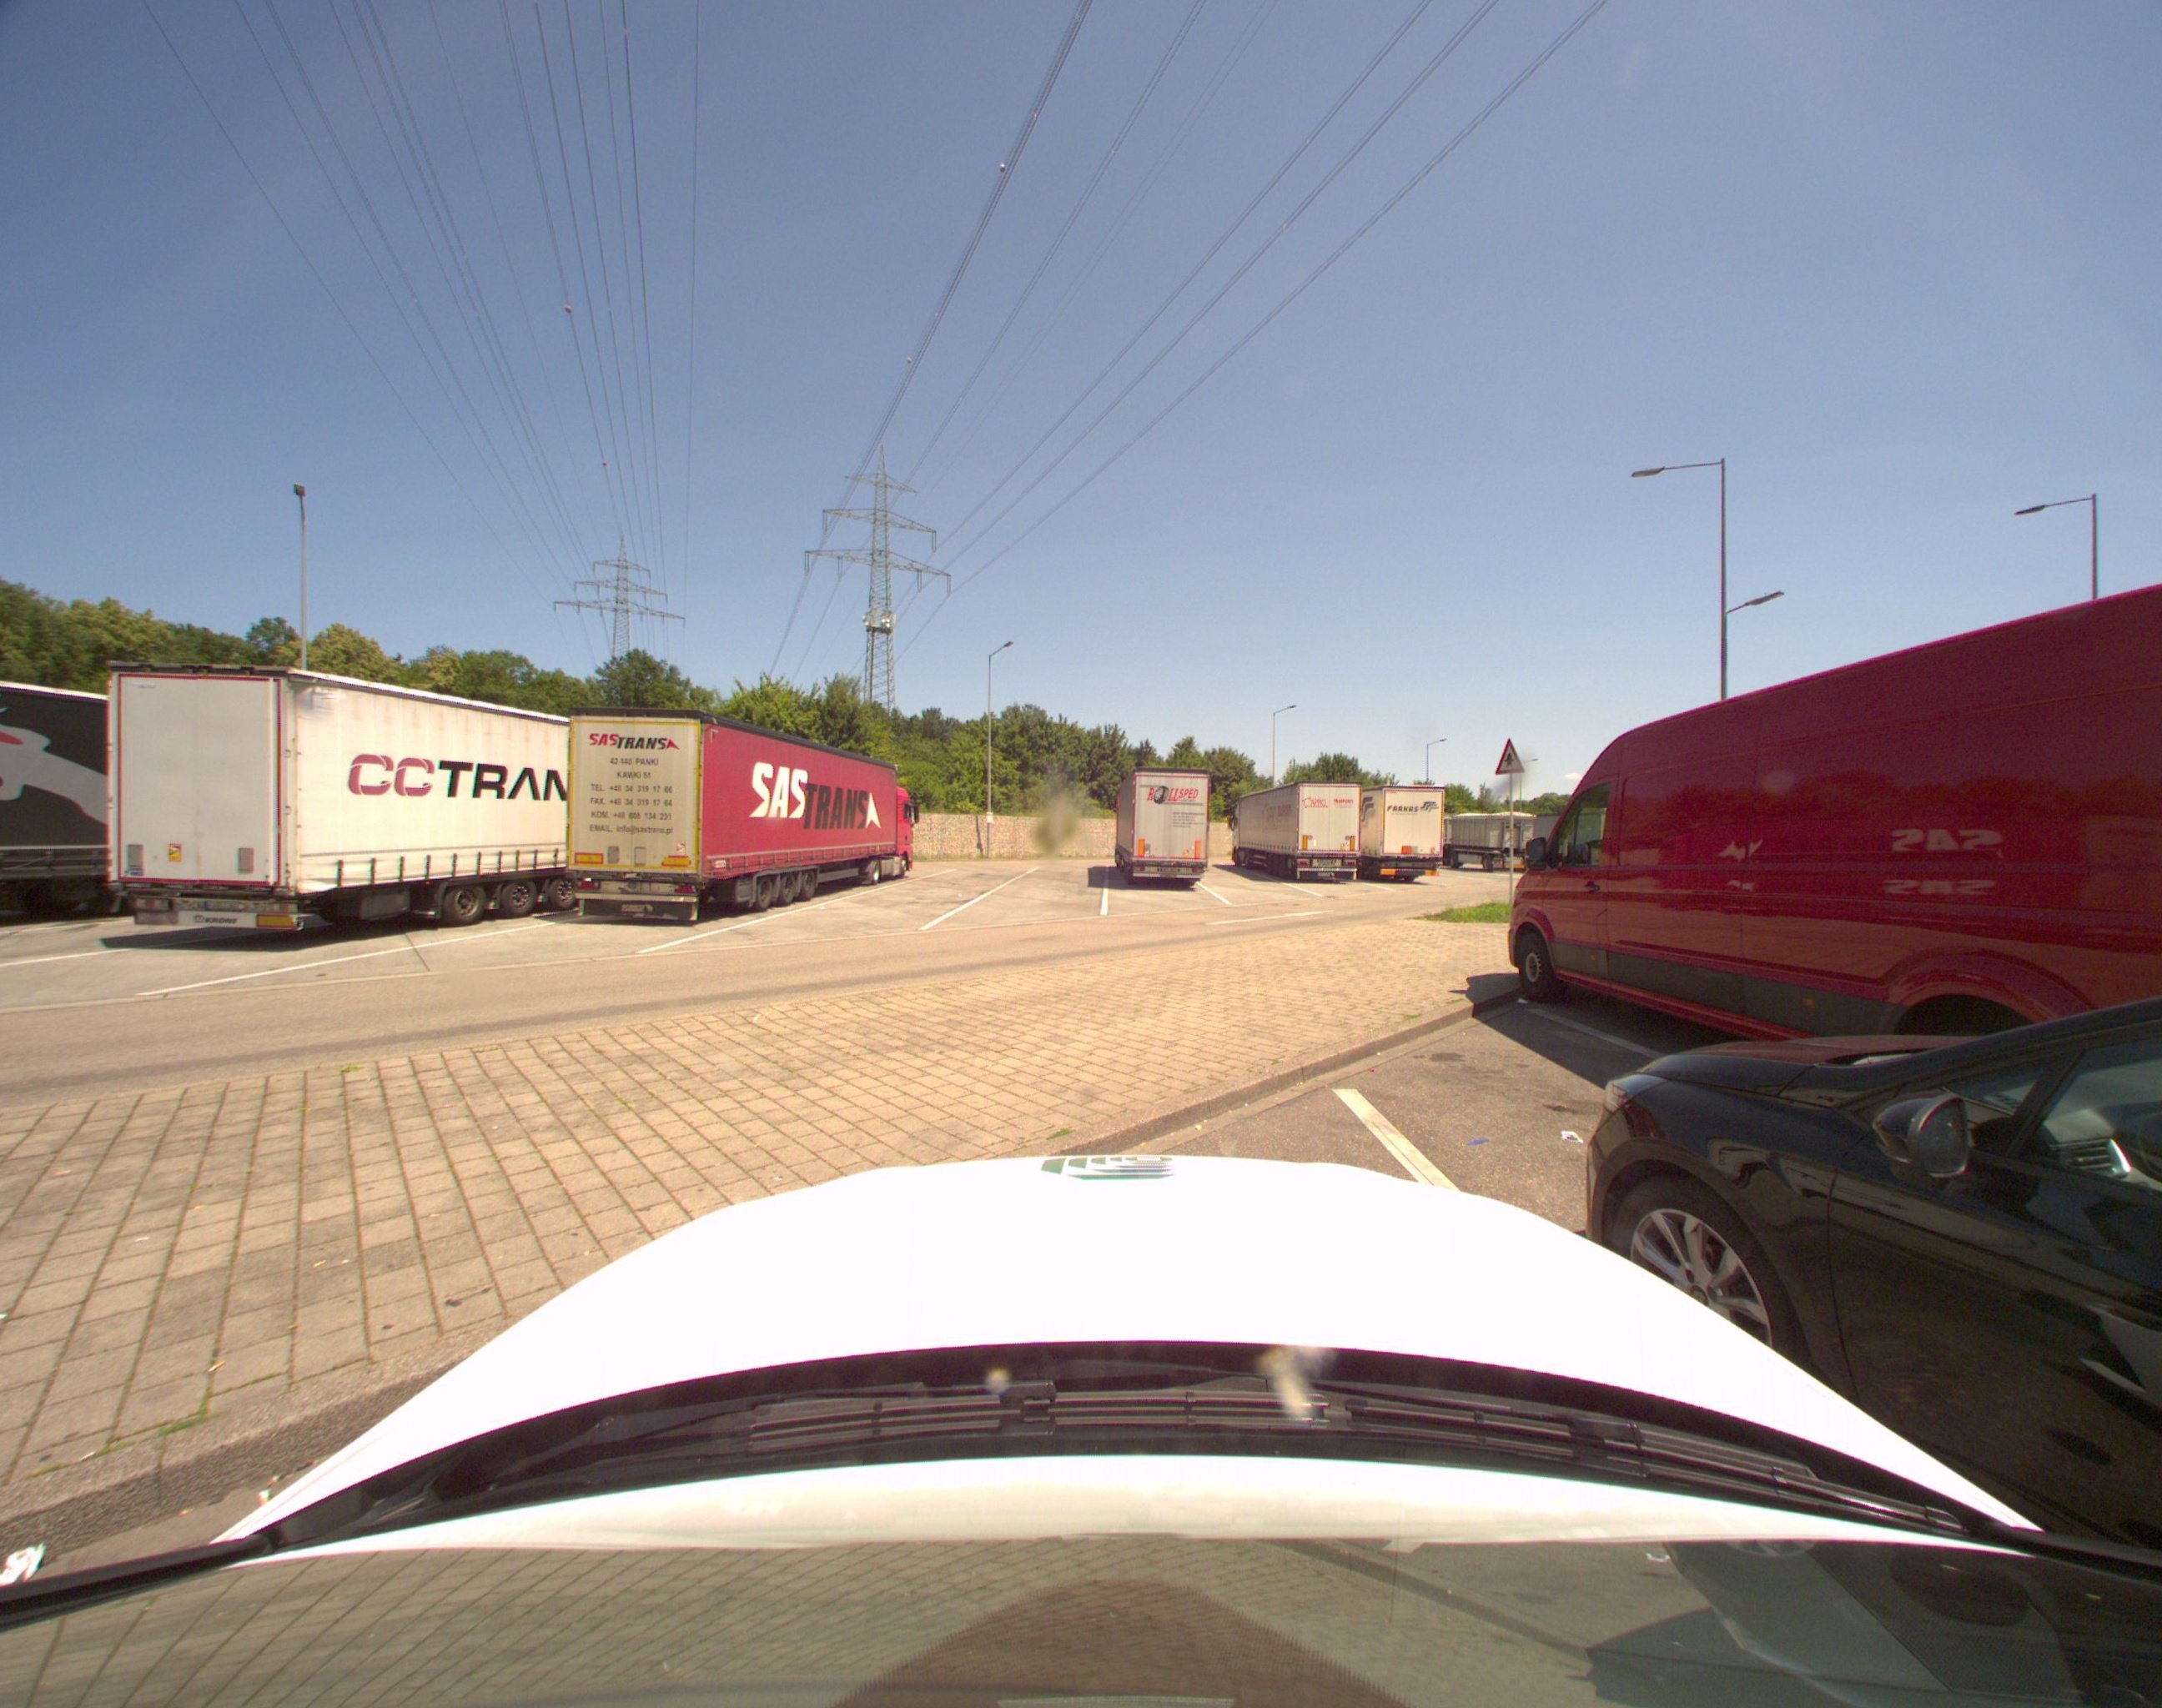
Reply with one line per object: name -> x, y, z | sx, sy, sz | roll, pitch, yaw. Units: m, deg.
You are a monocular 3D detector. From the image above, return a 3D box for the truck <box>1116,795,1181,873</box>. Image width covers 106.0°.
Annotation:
truck -> 3.182, -0.987, 39.893 | 2.841, 3.483, 5.486 | 1, 1, 2

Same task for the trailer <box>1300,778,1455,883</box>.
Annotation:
trailer -> 13.625, -1.121, 39.269 | 2.828, 4.132, 13.730 | 1, 2, 2

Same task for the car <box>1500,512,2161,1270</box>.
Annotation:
car -> 5.171, 0.082, 5.473 | 2.055, 2.695, 6.405 | -1, 1, 6

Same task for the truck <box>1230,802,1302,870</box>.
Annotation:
truck -> 10.178, -1.027, 45.417 | 2.841, 3.483, 5.486 | 1, 1, 2

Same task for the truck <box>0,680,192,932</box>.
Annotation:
truck -> -18.569, -0.801, 13.551 | 2.692, 4.016, 4.326 | 1, 2, 2

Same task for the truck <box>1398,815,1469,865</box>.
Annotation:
truck -> 24.937, -1.008, 57.933 | 2.840, 3.364, 5.488 | 1, 1, 3

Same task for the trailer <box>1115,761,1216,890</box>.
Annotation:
trailer -> 3.038, -1.102, 33.281 | 2.896, 4.132, 13.727 | 1, 2, 1

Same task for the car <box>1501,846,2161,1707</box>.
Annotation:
car -> 2.528, 0.749, 1.163 | 1.733, 1.482, 3.813 | -1, 1, -3

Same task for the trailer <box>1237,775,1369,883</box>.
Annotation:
trailer -> 9.969, -1.154, 38.607 | 2.828, 4.132, 13.730 | 1, 2, 2

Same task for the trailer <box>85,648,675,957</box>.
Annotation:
trailer -> -12.193, -0.890, 16.314 | 2.718, 4.209, 10.175 | 1, 2, 2

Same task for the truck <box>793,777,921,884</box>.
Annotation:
truck -> -7.788, -0.834, 29.079 | 2.841, 3.427, 5.486 | 1, 1, 2

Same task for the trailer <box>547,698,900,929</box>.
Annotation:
trailer -> -8.027, -0.954, 21.643 | 2.896, 4.131, 13.731 | 1, 2, 2

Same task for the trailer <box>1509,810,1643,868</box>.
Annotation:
trailer -> 38.391, -1.237, 64.117 | 2.826, 4.049, 13.737 | 1, 2, 3

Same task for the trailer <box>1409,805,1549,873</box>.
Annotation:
trailer -> 24.547, -1.001, 51.435 | 2.826, 3.717, 13.737 | 1, 2, 3
